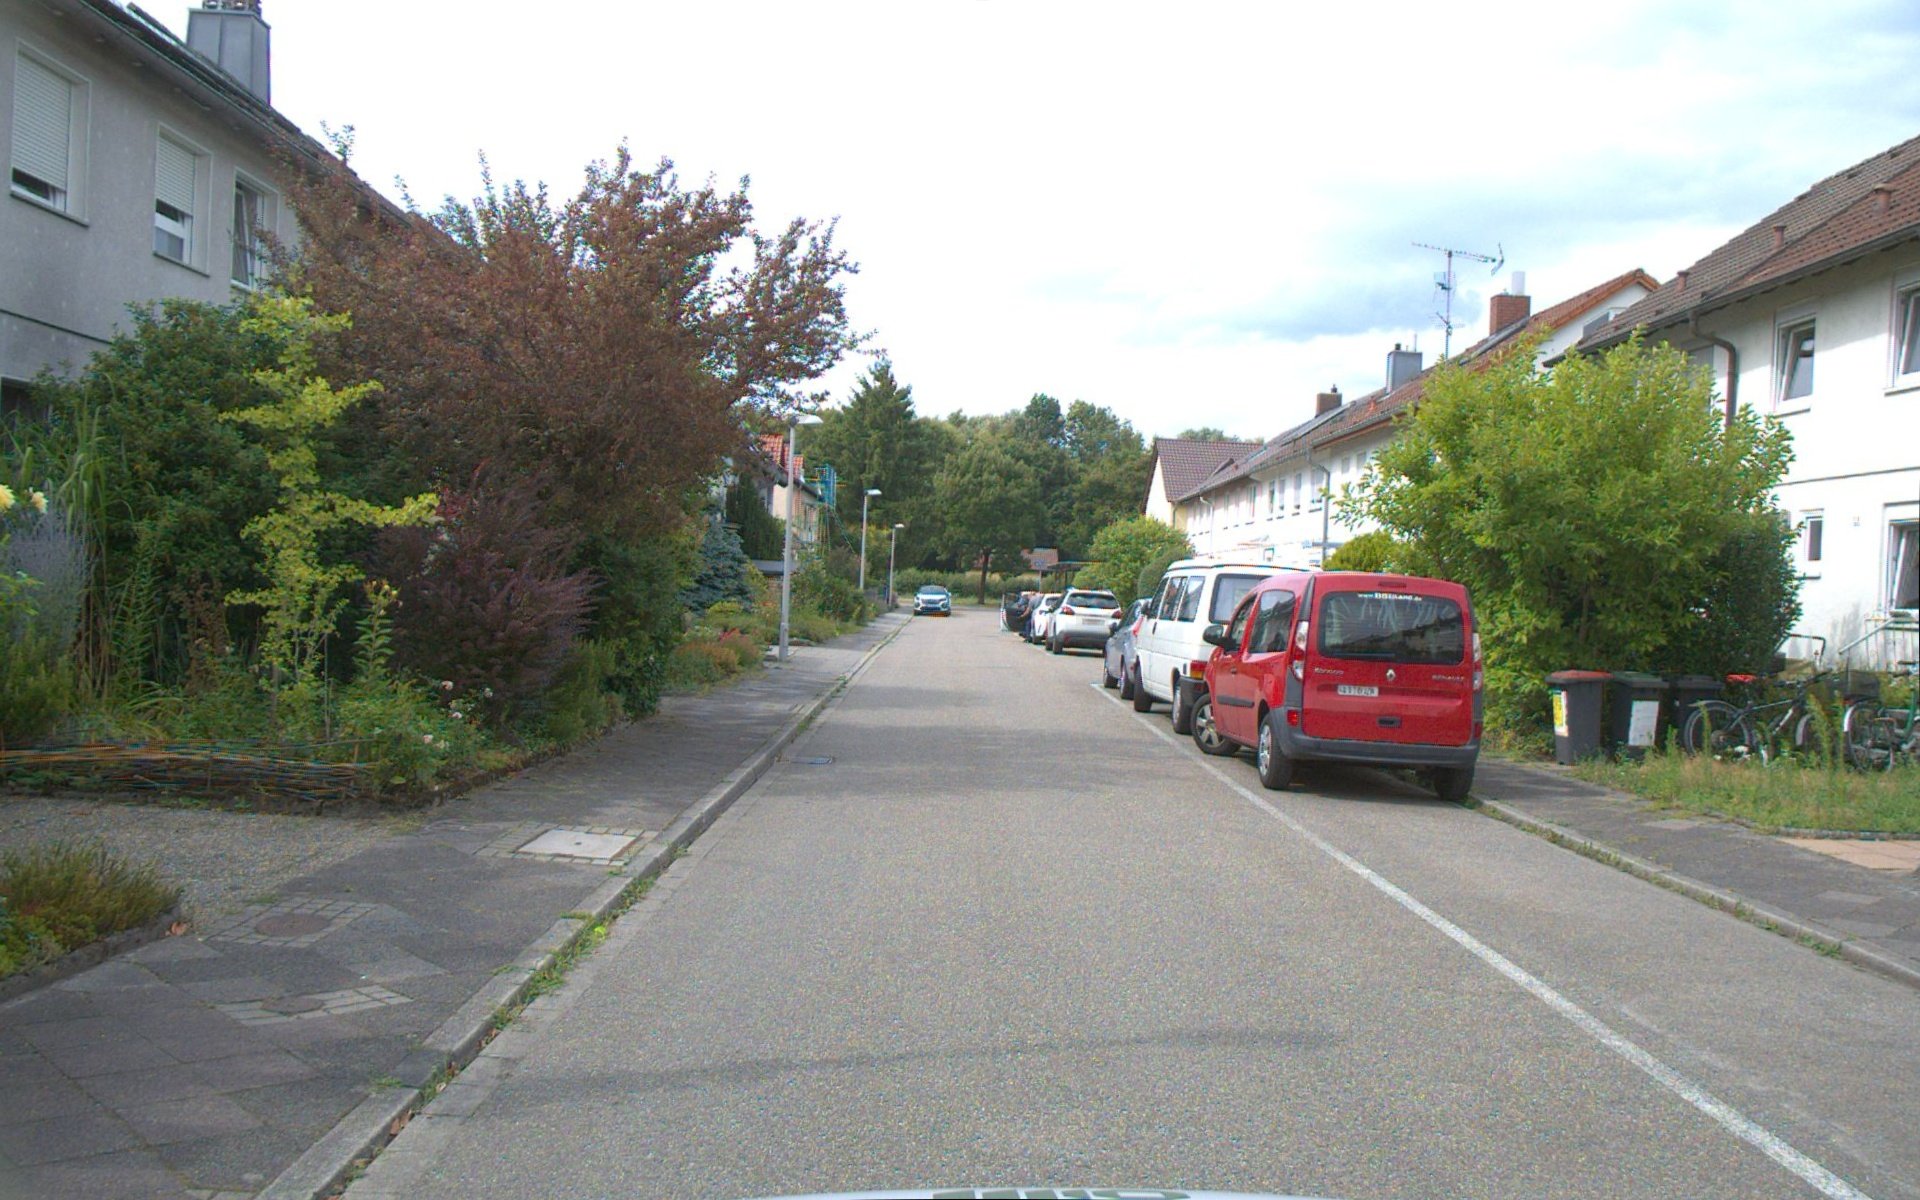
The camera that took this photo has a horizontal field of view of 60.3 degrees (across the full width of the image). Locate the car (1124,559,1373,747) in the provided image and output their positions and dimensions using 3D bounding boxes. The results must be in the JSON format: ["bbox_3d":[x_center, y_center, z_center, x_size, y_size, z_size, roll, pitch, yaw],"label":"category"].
[{"bbox_3d":[3.361,0.554,20.265,1.980,1.981,4.745,2,1,-3],"label":"car"}]

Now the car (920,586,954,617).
[{"bbox_3d":[-1.251,0.067,90.074,1.773,1.589,4.847,2,1,-1],"label":"car"}]

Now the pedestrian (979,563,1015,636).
[{"bbox_3d":[1.064,-0.022,47.650,0.894,2.049,0.950,2,0,-4],"label":"pedestrian"}]

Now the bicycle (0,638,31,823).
[{"bbox_3d":[-5.539,0.632,8.770,1.672,0.908,0.526,3,2,41],"label":"bicycle"}]

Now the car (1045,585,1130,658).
[{"bbox_3d":[3.049,0.477,40.203,1.679,1.570,3.973,4,0,0],"label":"car"}]

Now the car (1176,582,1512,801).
[{"bbox_3d":[3.325,0.706,15.265,1.775,1.679,4.407,2,1,-4],"label":"car"}]

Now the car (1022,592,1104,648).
[{"bbox_3d":[2.890,0.528,47.464,1.801,1.437,4.634,2,1,-3],"label":"car"}]

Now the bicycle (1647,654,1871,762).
[{"bbox_3d":[7.492,1.005,15.539,1.840,0.924,0.560,2,0,-3],"label":"bicycle"}]

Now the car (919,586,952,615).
[{"bbox_3d":[-1.389,0.026,95.532,1.755,1.558,4.140,2,1,0],"label":"car"}]

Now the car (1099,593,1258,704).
[{"bbox_3d":[3.253,0.679,25.368,1.862,1.485,4.129,2,1,0],"label":"car"}]

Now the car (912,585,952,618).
[{"bbox_3d":[-1.411,0.065,84.673,1.894,1.583,4.634,2,1,0],"label":"car"}]

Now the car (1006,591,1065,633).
[{"bbox_3d":[2.874,0.434,63.812,1.827,1.441,4.251,3,1,-3],"label":"car"}]

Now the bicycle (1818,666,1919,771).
[{"bbox_3d":[8.758,1.076,15.315,1.571,0.881,0.738,1,0,-32],"label":"bicycle"}]
